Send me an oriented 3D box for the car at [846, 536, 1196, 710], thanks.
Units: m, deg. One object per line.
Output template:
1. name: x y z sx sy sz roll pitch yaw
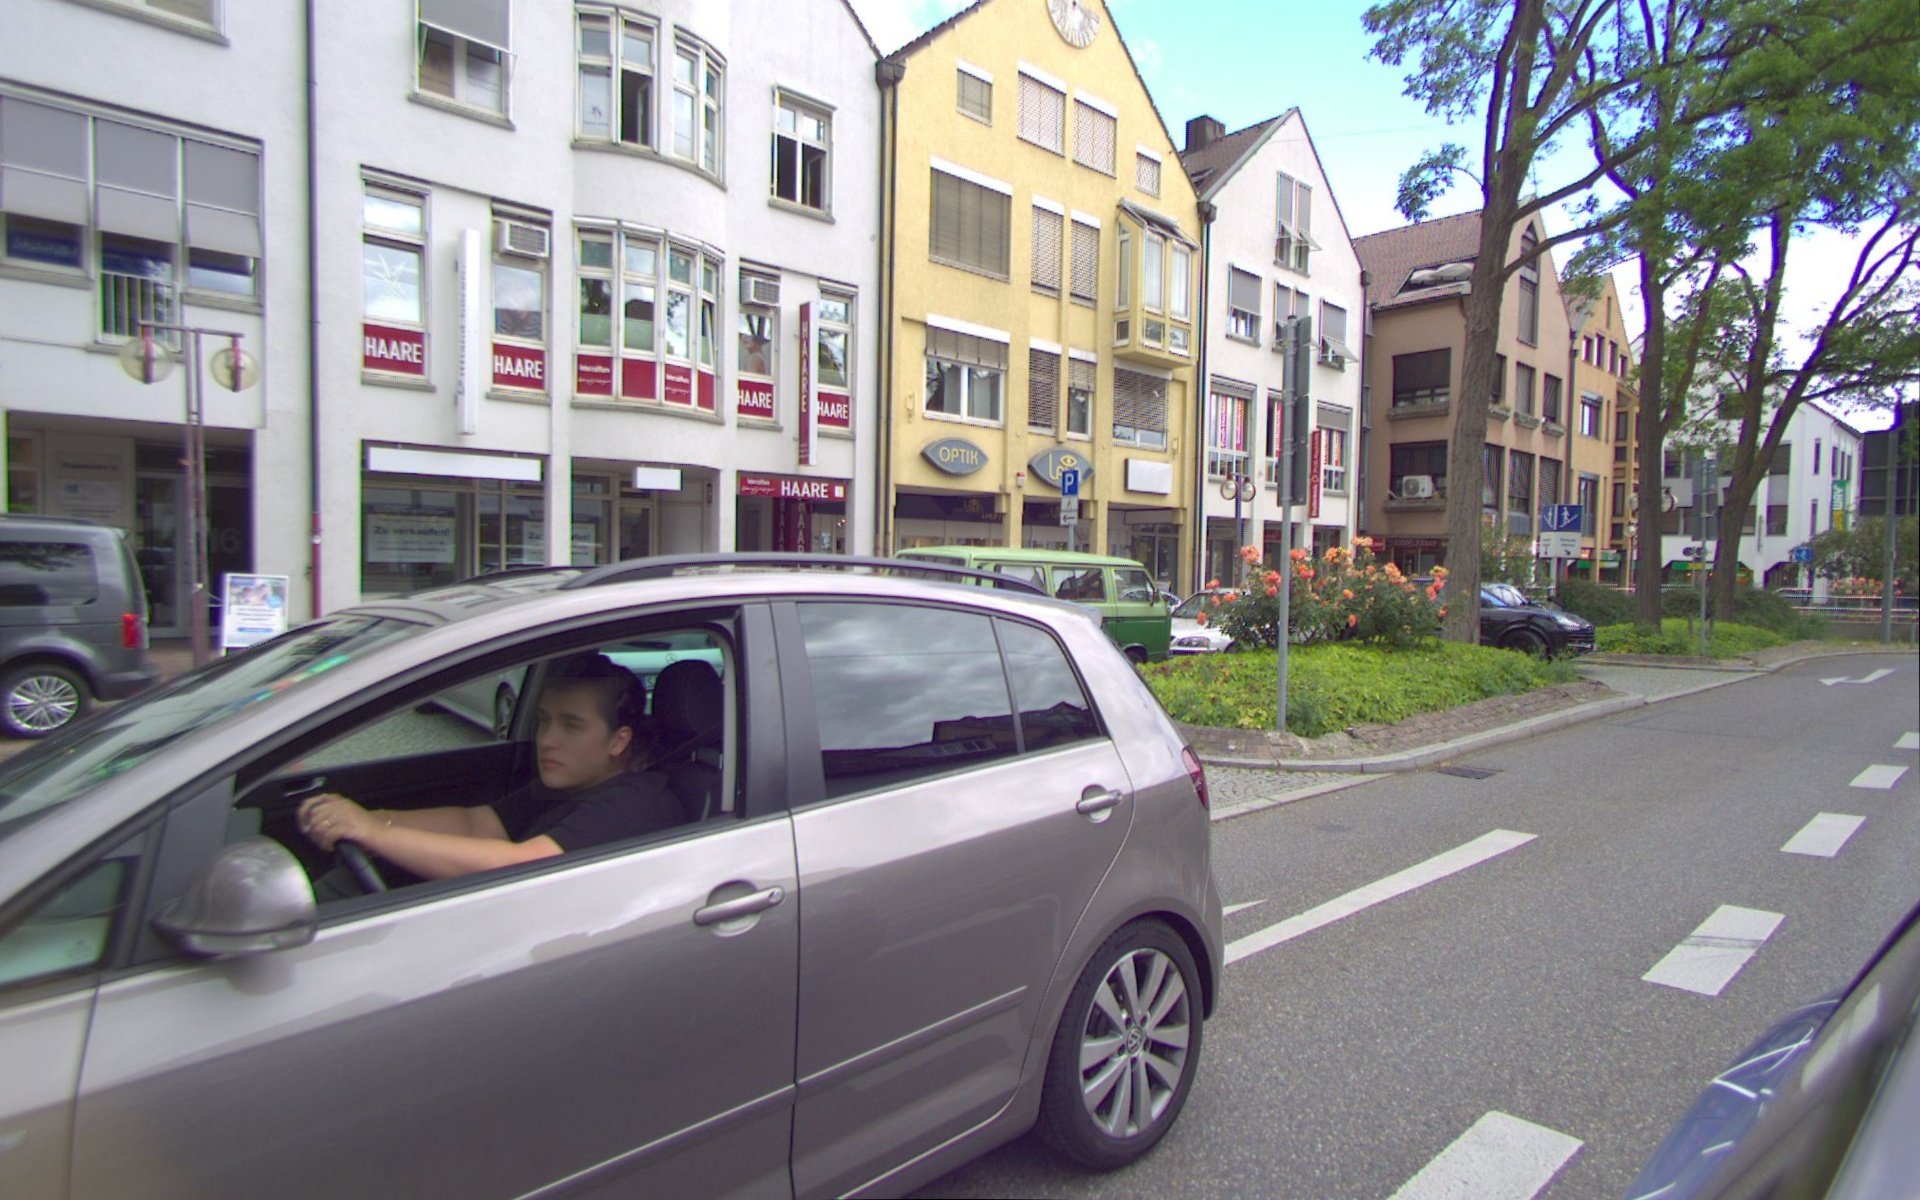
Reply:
1. car: 0.963 0.167 13.485 4.675 1.899 1.996 -2 4 -44

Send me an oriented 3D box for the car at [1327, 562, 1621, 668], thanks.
1. car: 9.898 0.195 19.724 4.735 1.699 1.971 4 3 41

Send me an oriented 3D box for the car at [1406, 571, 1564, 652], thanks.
1. car: 12.662 0.178 24.287 4.677 1.674 1.995 -2 4 -45

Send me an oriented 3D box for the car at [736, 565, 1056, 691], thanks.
1. car: -0.828 0.288 15.343 4.677 1.566 1.995 -2 4 -45

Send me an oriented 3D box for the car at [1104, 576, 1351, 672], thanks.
1. car: 4.632 0.302 17.097 4.675 1.325 1.840 -2 4 -44

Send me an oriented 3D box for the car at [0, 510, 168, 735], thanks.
1. car: -9.115 0.154 8.143 4.190 1.826 1.736 -1 3 -44

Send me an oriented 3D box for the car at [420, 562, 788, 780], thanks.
1. car: -3.602 0.439 9.618 1.710 1.471 4.647 0 3 -41

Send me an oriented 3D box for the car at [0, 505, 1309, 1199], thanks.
1. car: -0.991 0.655 2.492 3.931 1.549 1.800 -1 0 -41
